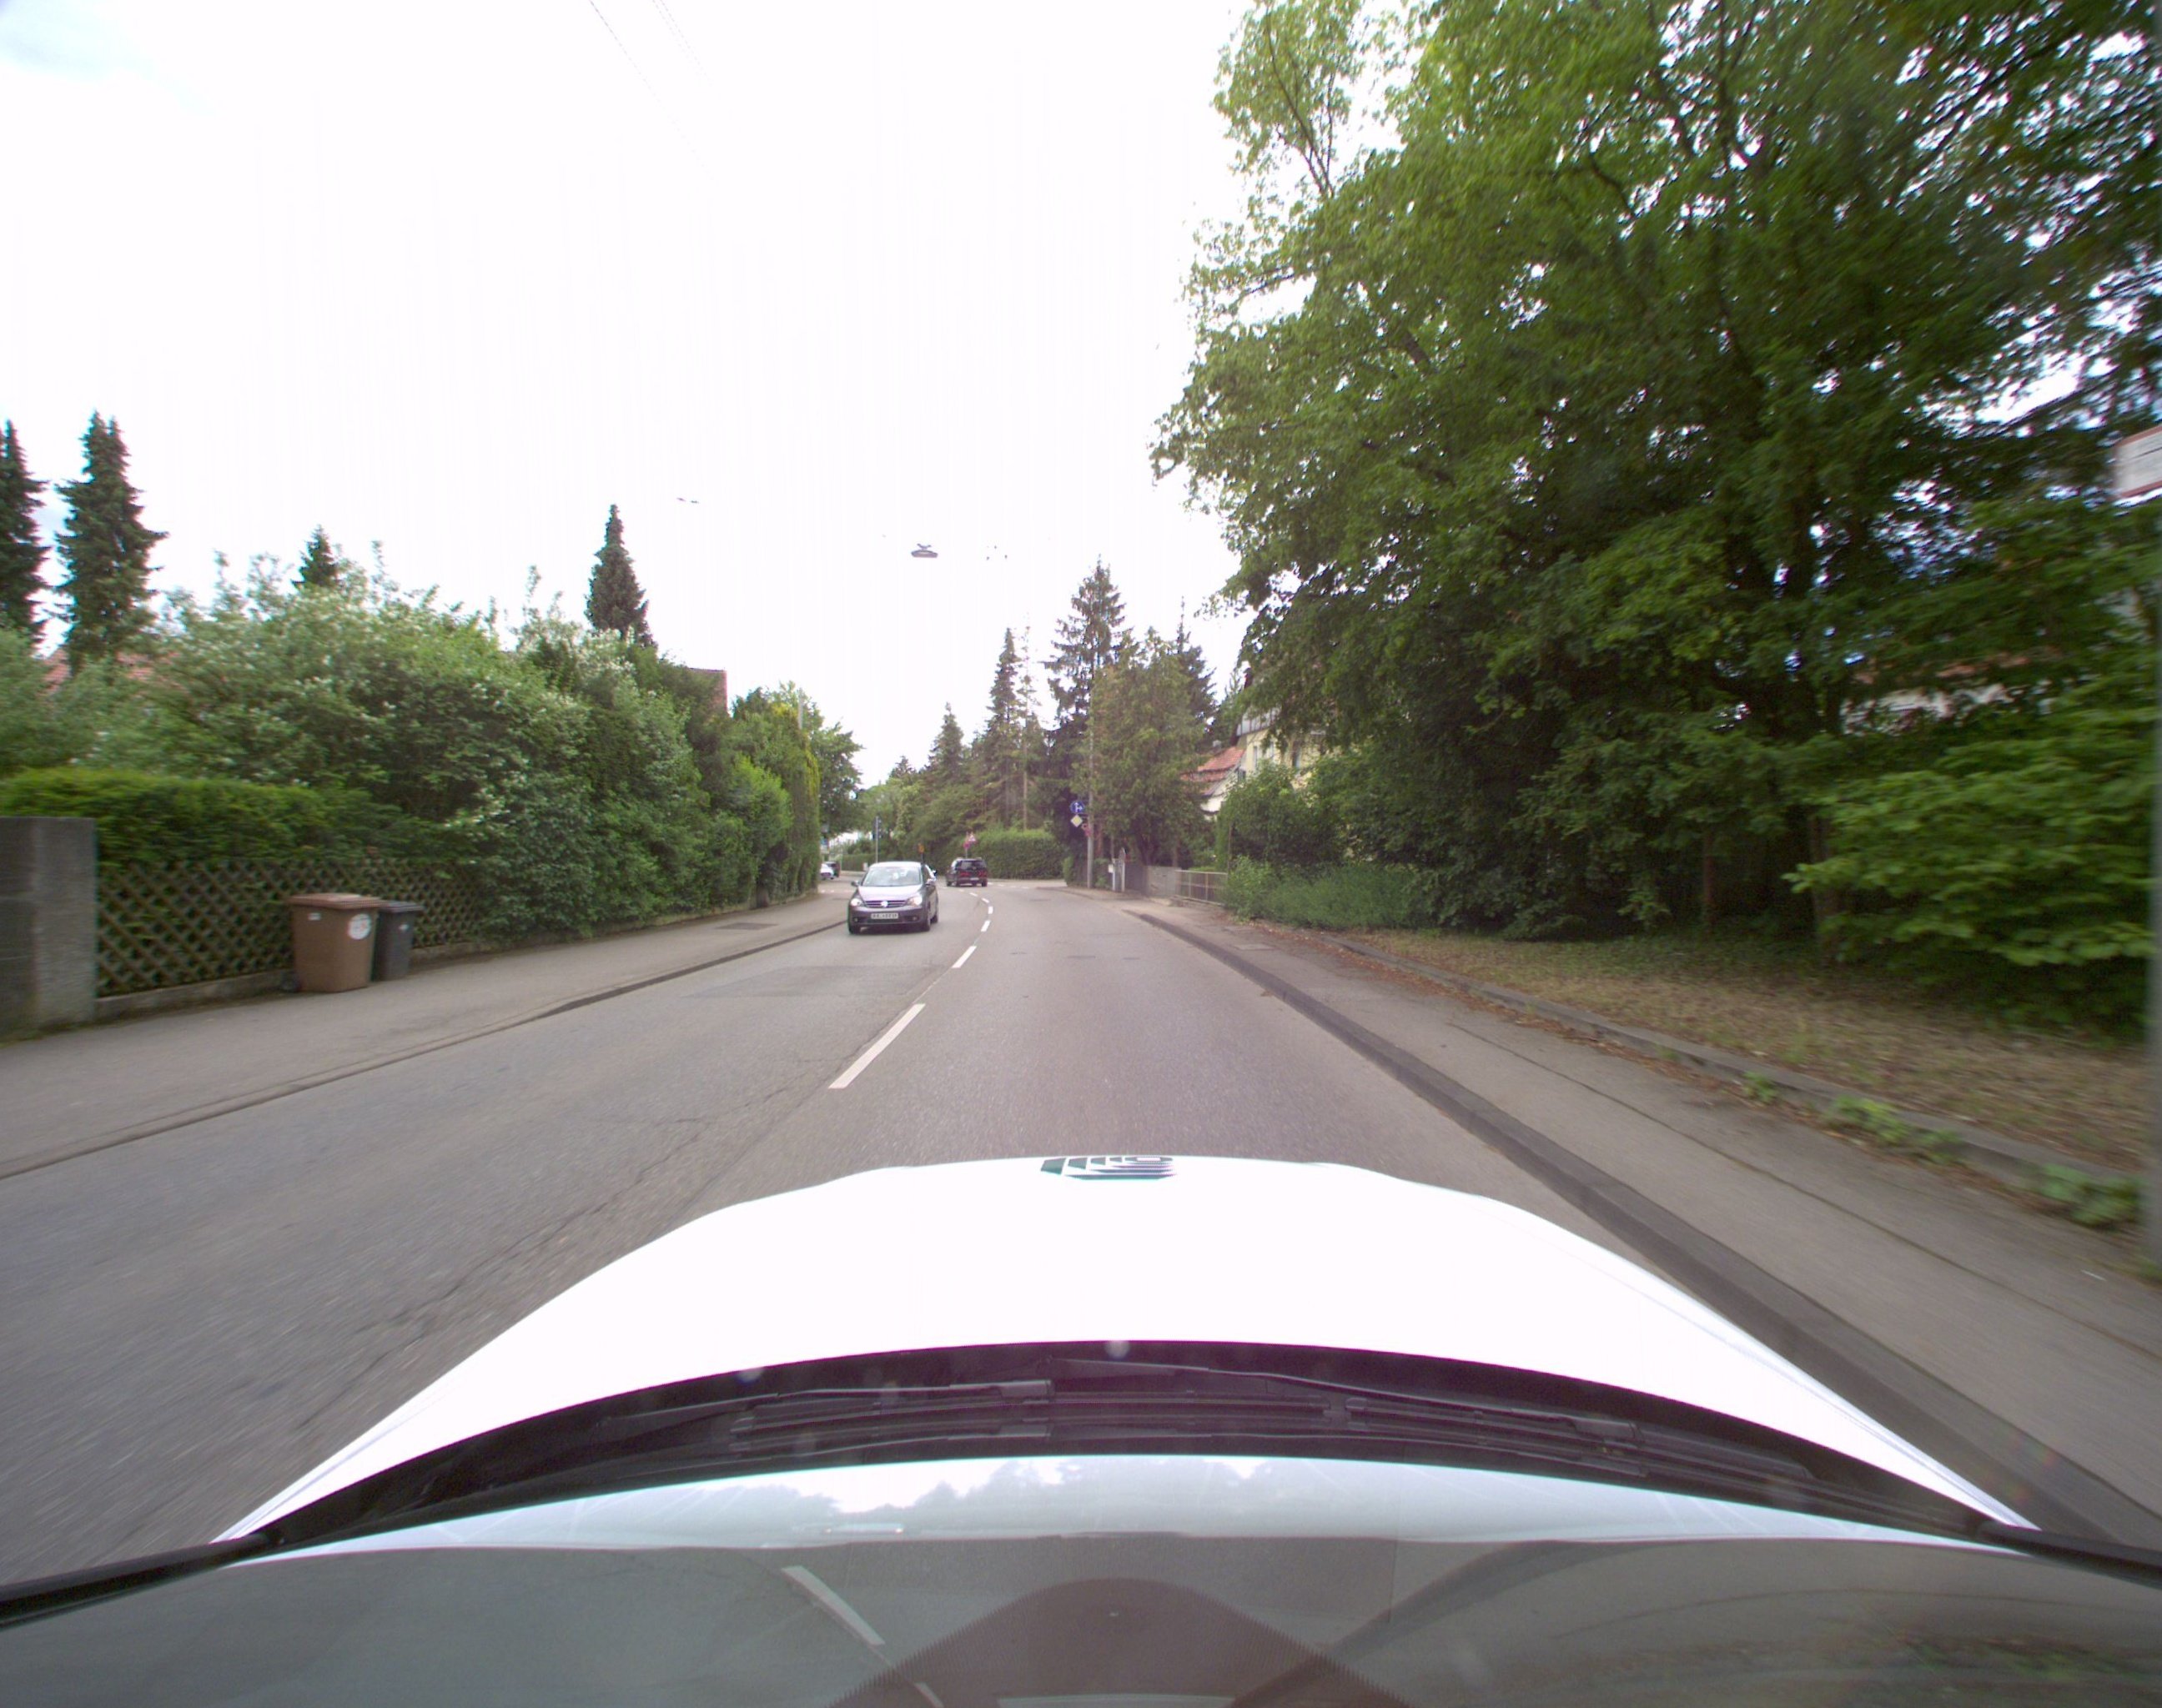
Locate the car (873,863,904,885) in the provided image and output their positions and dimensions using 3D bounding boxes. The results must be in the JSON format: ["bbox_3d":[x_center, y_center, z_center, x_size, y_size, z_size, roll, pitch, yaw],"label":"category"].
[{"bbox_3d":[-13.156,1.357,55.621,1.915,1.398,3.890,-1,0,-14],"label":"car"}]

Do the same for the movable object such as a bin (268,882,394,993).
[{"bbox_3d":[-8.316,0.911,9.058,0.739,1.141,0.646,2,-1,-3],"label":"movable object such as a bin"}]

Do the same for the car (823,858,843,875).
[{"bbox_3d":[-25.858,1.269,84.800,1.899,1.706,3.974,1,-1,-19],"label":"car"}]

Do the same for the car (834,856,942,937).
[{"bbox_3d":[-4.370,0.900,19.032,1.992,1.618,3.990,-2,0,-7],"label":"car"}]

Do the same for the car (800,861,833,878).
[{"bbox_3d":[-24.515,1.445,75.379,1.820,1.443,4.154,-1,-1,-33],"label":"car"}]

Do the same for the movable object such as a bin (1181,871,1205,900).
[{"bbox_3d":[4.109,1.158,29.868,0.775,1.048,0.782,0,-1,-1],"label":"movable object such as a bin"}]

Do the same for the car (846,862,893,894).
[{"bbox_3d":[-10.434,1.152,40.442,1.902,1.454,3.784,-2,0,-10],"label":"car"}]

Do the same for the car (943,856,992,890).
[{"bbox_3d":[-6.959,1.110,49.612,2.002,1.881,3.970,1,1,-23],"label":"car"}]

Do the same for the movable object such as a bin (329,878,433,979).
[{"bbox_3d":[-8.436,0.877,9.840,0.627,1.145,0.646,2,-1,-3],"label":"movable object such as a bin"}]
